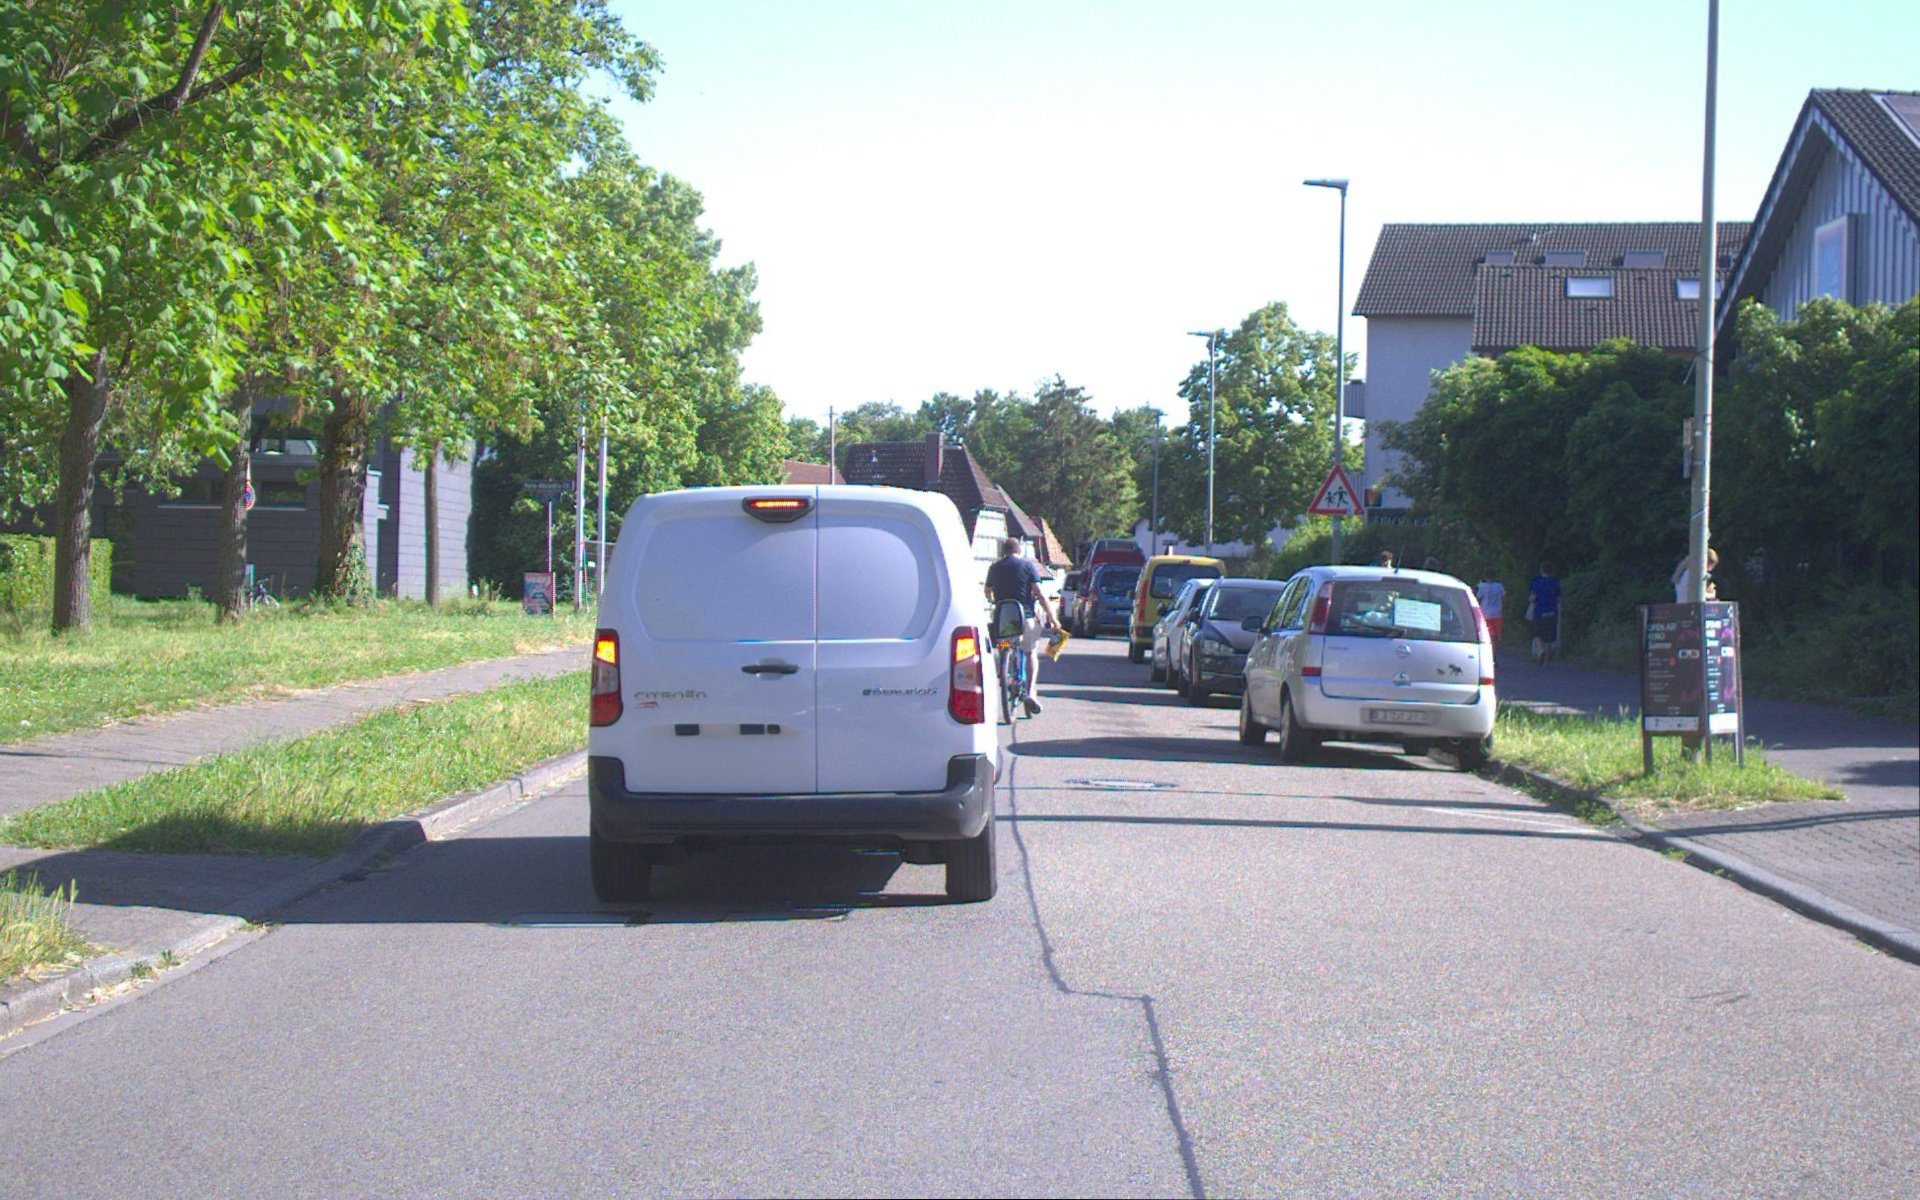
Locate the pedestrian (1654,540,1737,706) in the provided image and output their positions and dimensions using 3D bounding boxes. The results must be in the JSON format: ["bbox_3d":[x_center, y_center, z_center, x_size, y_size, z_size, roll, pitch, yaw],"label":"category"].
[{"bbox_3d":[8.036,0.245,37.582,0.799,1.776,0.808,1,1,9],"label":"pedestrian"}]

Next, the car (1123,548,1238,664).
[{"bbox_3d":[3.668,0.085,57.714,1.724,1.831,4.000,2,0,2],"label":"car"}]

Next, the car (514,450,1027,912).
[{"bbox_3d":[-0.749,0.312,16.425,1.994,1.875,4.288,1,1,3],"label":"car"}]

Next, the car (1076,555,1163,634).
[{"bbox_3d":[3.887,-0.114,84.287,1.804,1.779,4.000,3,0,-1],"label":"car"}]

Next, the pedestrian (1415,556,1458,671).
[{"bbox_3d":[6.842,0.183,49.375,0.567,1.631,0.546,1,1,6],"label":"pedestrian"}]

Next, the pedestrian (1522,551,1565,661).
[{"bbox_3d":[8.747,0.087,51.517,0.567,1.631,0.546,1,1,6],"label":"pedestrian"}]

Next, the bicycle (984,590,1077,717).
[{"bbox_3d":[0.660,0.492,32.976,0.787,1.135,2.280,1,1,-1],"label":"bicycle"}]

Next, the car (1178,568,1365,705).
[{"bbox_3d":[3.549,0.383,39.849,1.807,1.438,4.363,2,1,1],"label":"car"}]

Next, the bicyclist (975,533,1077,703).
[{"bbox_3d":[0.625,0.171,32.927,0.905,1.579,0.966,2,0,-1],"label":"bicyclist"}]

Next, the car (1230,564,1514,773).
[{"bbox_3d":[3.385,0.532,28.940,1.679,1.594,4.028,2,0,-3],"label":"car"}]

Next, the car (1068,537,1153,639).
[{"bbox_3d":[3.982,-0.302,91.696,1.866,2.554,4.767,3,0,-1],"label":"car"}]

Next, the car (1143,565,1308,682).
[{"bbox_3d":[3.512,0.296,46.086,1.826,1.447,4.000,2,0,-1],"label":"car"}]

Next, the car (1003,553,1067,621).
[{"bbox_3d":[2.407,-0.403,110.610,1.804,2.062,4.000,3,0,-1],"label":"car"}]

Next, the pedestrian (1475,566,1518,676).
[{"bbox_3d":[8.050,0.316,51.569,0.567,1.631,0.546,1,1,6],"label":"pedestrian"}]

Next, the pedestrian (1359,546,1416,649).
[{"bbox_3d":[7.886,-0.048,63.432,0.793,1.855,0.874,2,0,-6],"label":"pedestrian"}]
